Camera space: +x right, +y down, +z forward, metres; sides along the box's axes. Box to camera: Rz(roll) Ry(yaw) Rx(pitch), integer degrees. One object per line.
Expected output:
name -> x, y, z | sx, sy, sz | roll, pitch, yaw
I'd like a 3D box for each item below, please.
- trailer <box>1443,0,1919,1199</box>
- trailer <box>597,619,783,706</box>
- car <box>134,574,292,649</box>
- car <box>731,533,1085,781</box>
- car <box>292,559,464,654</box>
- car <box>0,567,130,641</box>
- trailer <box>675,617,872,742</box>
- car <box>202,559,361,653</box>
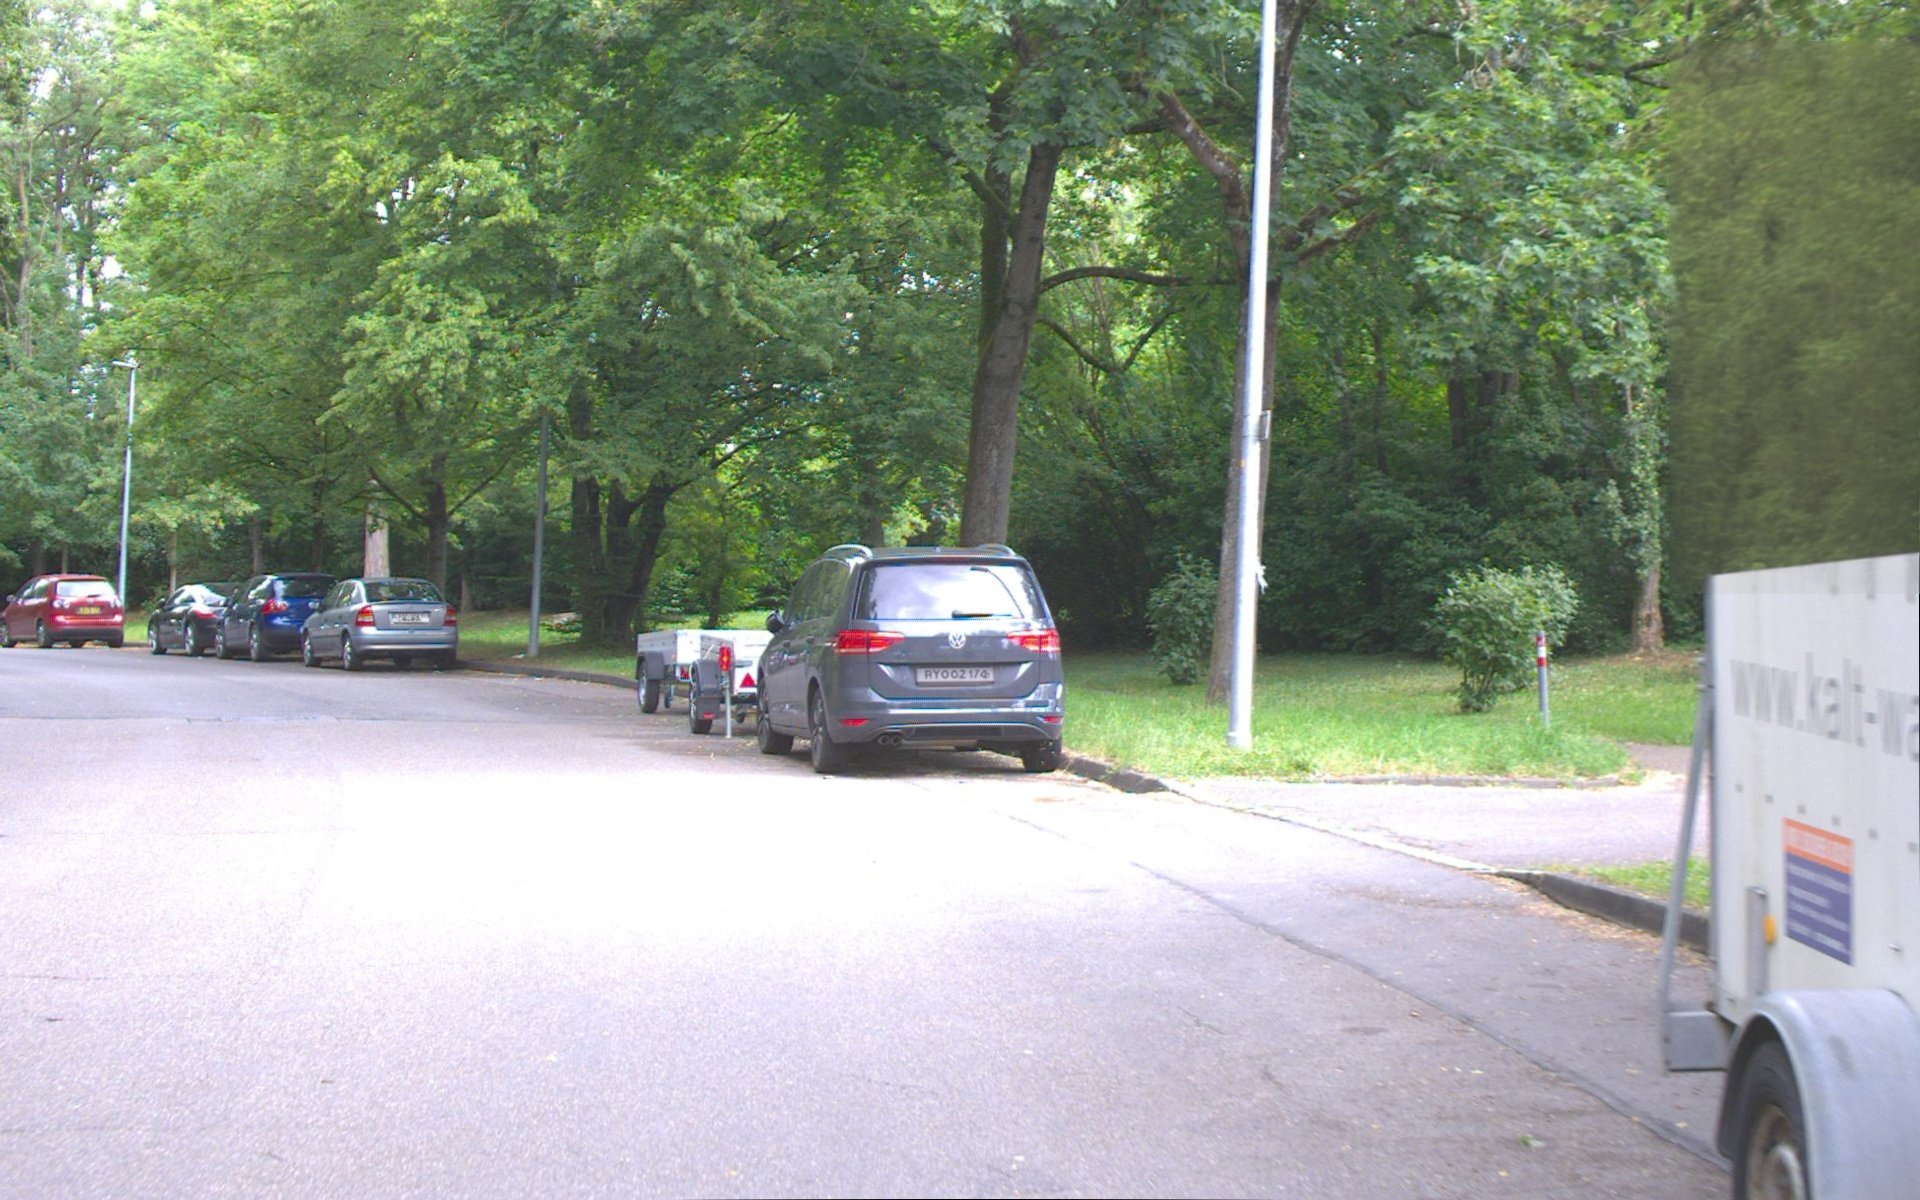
trailer -> 2.270, 0.226, 7.029 | 1.760, 2.418, 3.888 | 0, 1, -4
trailer -> -2.916, 0.658, 36.701 | 1.363, 0.845, 3.279 | 2, -1, -15
car -> -13.944, 0.218, 64.000 | 1.750, 1.332, 4.416 | 1, 0, -28
car -> -0.506, 0.391, 26.062 | 1.775, 1.657, 4.842 | 2, 0, -11
car -> -9.087, 0.103, 53.435 | 1.717, 1.427, 3.949 | 0, 0, -24
car -> -19.271, 0.098, 73.562 | 1.738, 1.557, 4.000 | 0, 0, -32
trailer -> -1.789, 0.709, 32.034 | 1.357, 0.965, 3.894 | 2, 1, -10
car -> -11.820, 0.120, 59.725 | 1.713, 1.504, 4.182 | 3, -1, -25
